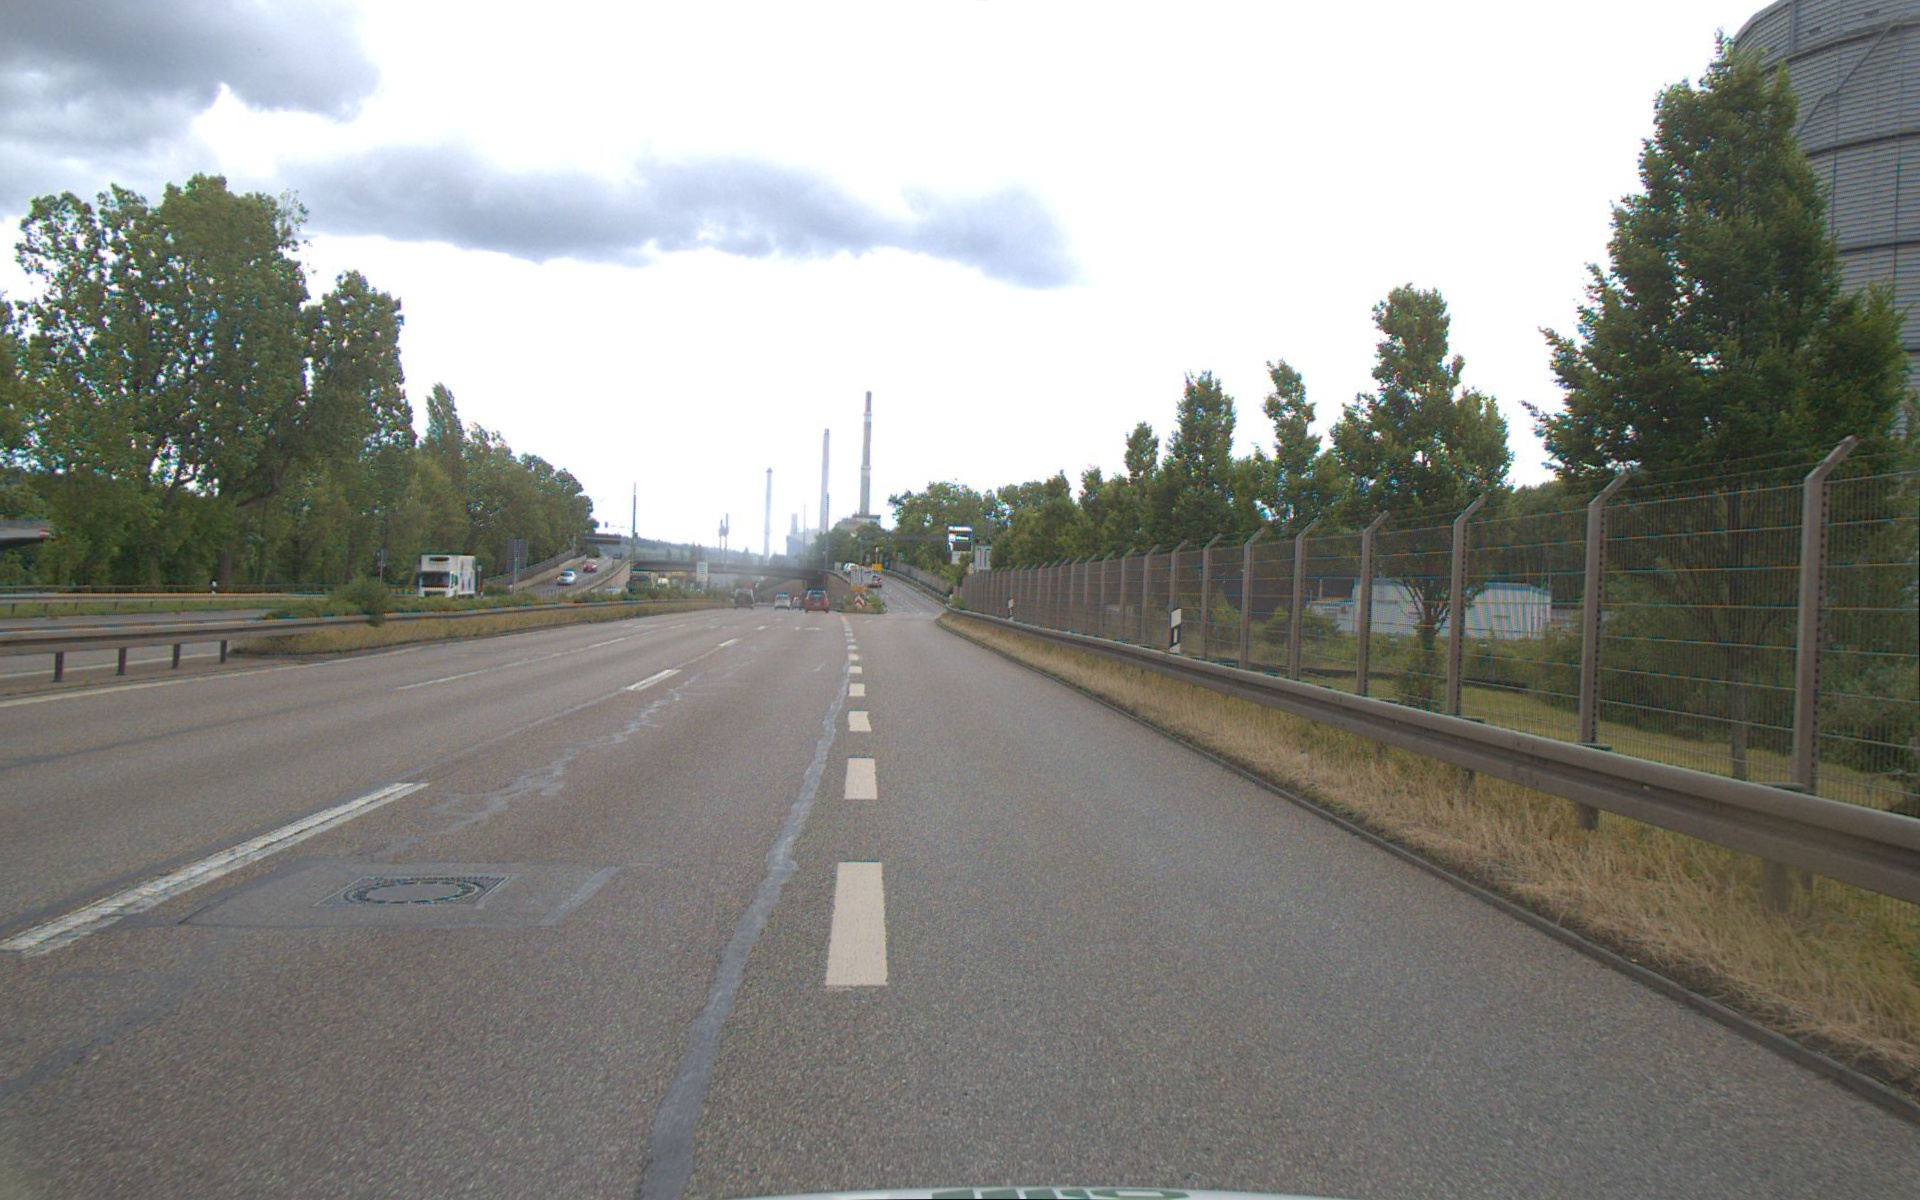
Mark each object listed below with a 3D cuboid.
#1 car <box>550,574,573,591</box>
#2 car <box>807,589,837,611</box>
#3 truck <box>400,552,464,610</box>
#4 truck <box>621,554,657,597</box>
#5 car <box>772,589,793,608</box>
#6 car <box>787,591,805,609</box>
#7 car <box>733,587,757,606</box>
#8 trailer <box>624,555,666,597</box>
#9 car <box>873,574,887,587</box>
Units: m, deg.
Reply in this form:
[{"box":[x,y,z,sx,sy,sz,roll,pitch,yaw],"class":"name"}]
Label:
[{"box":[-44.831,-1.964,186.049,1.956,1.673,4.597,3,0,-7],"class":"car"},{"box":[-9.708,-0.016,116.430,1.954,1.445,3.997,3,1,-4],"class":"car"},{"box":[-36.072,-1.298,113.205,2.927,3.707,6.327,3,0,-8],"class":"truck"},{"box":[-37.231,-2.784,192.020,3.396,4.754,6.204,2,0,-5],"class":"truck"},{"box":[-18.173,-0.162,169.850,1.955,1.713,3.997,3,1,-5],"class":"car"},{"box":[-20.578,0.007,207.456,1.883,2.048,3.992,3,1,-9],"class":"car"},{"box":[-20.422,-0.361,157.047,1.955,1.713,3.997,3,1,-5],"class":"car"},{"box":[-37.894,-2.779,199.329,3.396,4.754,14.765,2,0,-5],"class":"trailer"},{"box":[-10.526,-2.584,217.662,1.714,1.608,4.084,2,0,-2],"class":"car"}]
